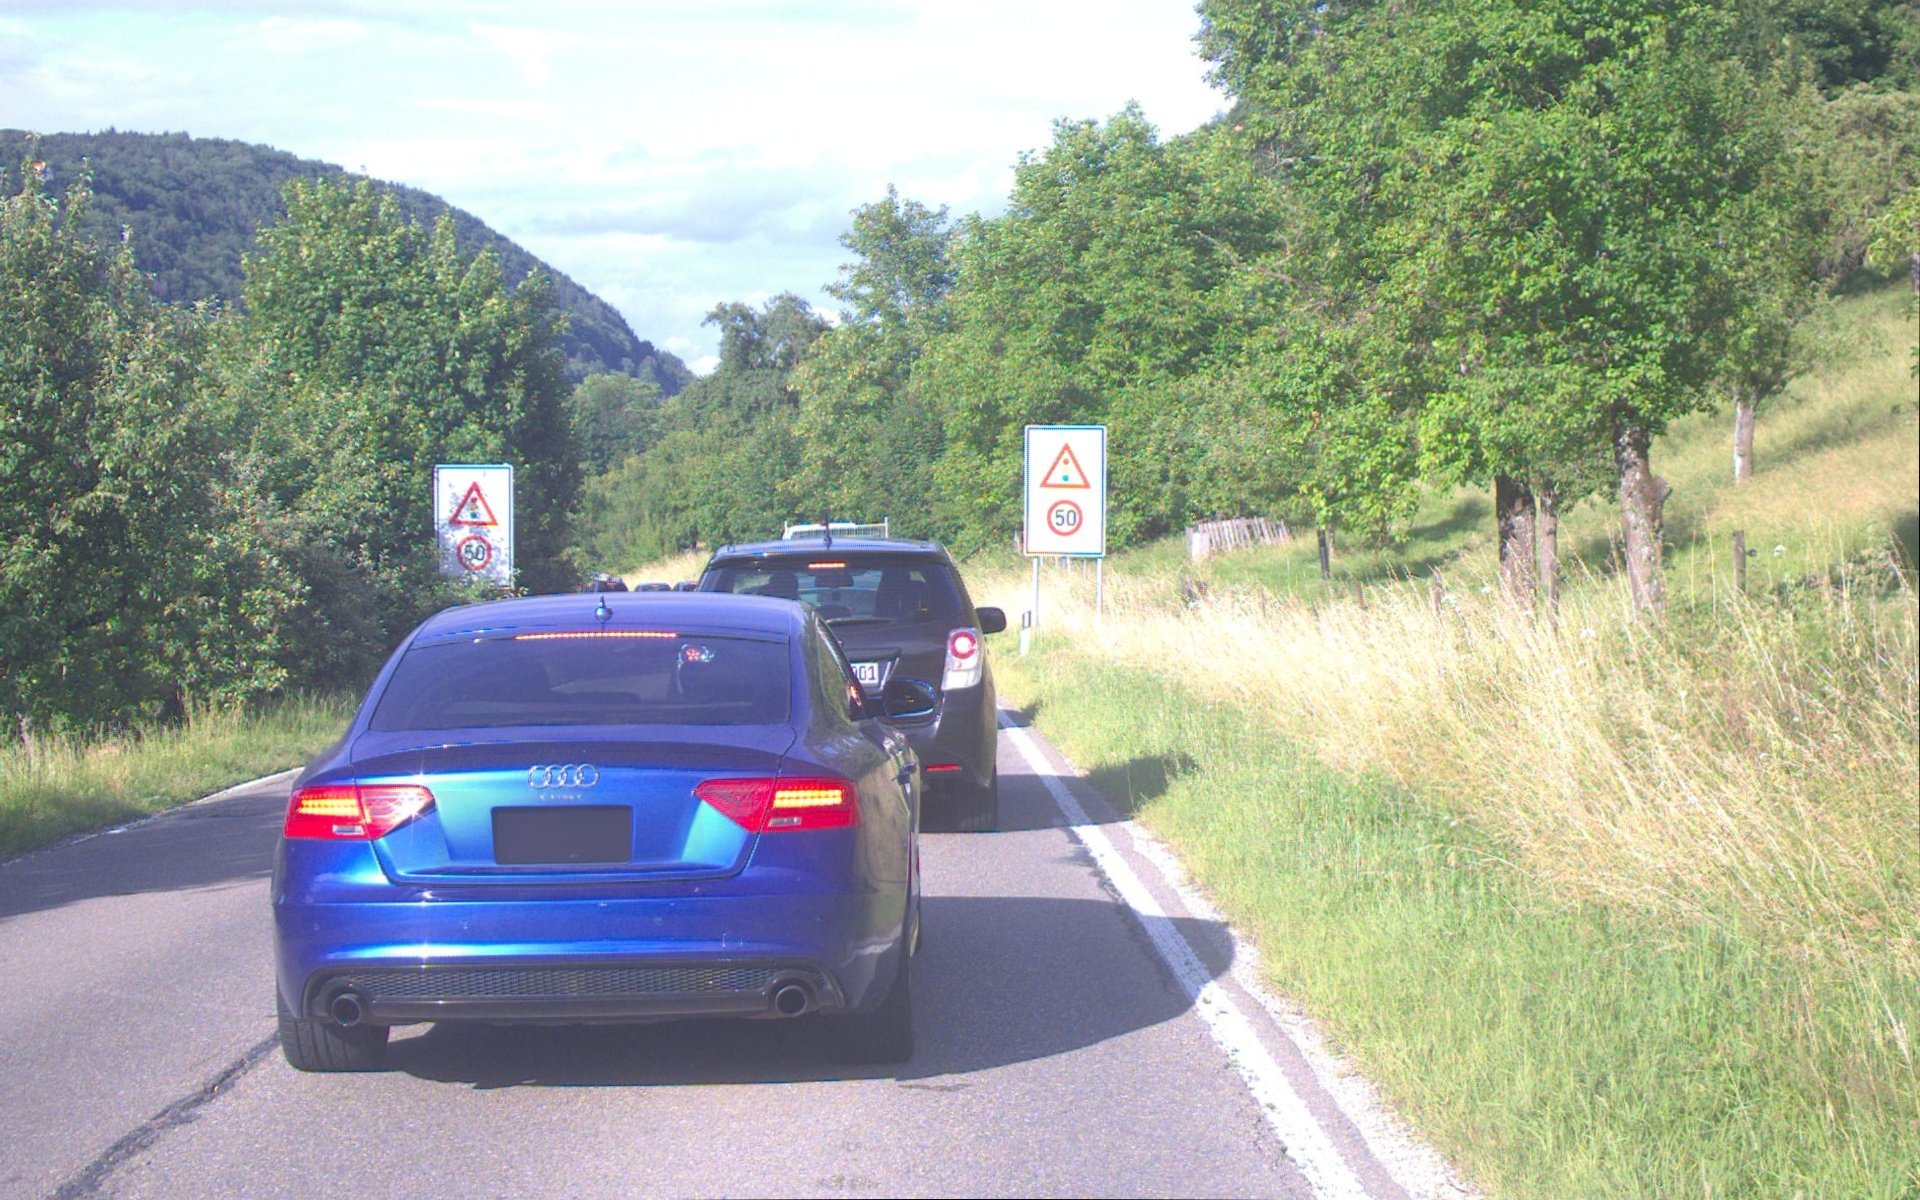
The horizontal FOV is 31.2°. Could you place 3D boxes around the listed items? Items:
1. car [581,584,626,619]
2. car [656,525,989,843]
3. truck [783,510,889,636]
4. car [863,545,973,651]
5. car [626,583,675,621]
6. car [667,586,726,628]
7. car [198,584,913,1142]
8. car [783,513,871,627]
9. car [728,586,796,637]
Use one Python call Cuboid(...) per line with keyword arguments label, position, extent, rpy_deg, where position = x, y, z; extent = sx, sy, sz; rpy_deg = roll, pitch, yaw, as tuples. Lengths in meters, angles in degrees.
Cuboid(label="car", position=(-16.285, 0.063, 156.990), extent=(1.558, 1.490, 3.779), rpy_deg=(2, 1, -13))
Cuboid(label="car", position=(-0.746, 0.401, 19.547), extent=(1.692, 1.618, 3.789), rpy_deg=(1, 1, -1))
Cuboid(label="truck", position=(-2.449, -0.546, 68.200), extent=(1.950, 2.337, 5.094), rpy_deg=(2, 1, -2))
Cuboid(label="car", position=(-0.691, -0.060, 55.097), extent=(1.692, 1.618, 3.789), rpy_deg=(1, 1, -1))
Cuboid(label="car", position=(-12.918, 0.076, 143.372), extent=(1.558, 1.490, 3.779), rpy_deg=(2, 1, -12))
Cuboid(label="car", position=(-10.089, 0.258, 131.531), extent=(1.747, 1.490, 3.779), rpy_deg=(2, 1, -12))
Cuboid(label="car", position=(-1.062, 0.663, 10.904), extent=(1.805, 1.377, 4.215), rpy_deg=(-1, 1, -1))
Cuboid(label="car", position=(-3.028, -0.686, 77.773), extent=(1.792, 2.445, 3.920), rpy_deg=(2, 1, -4))
Cuboid(label="car", position=(-6.406, 0.363, 111.087), extent=(1.747, 1.490, 3.779), rpy_deg=(2, 1, -9))
